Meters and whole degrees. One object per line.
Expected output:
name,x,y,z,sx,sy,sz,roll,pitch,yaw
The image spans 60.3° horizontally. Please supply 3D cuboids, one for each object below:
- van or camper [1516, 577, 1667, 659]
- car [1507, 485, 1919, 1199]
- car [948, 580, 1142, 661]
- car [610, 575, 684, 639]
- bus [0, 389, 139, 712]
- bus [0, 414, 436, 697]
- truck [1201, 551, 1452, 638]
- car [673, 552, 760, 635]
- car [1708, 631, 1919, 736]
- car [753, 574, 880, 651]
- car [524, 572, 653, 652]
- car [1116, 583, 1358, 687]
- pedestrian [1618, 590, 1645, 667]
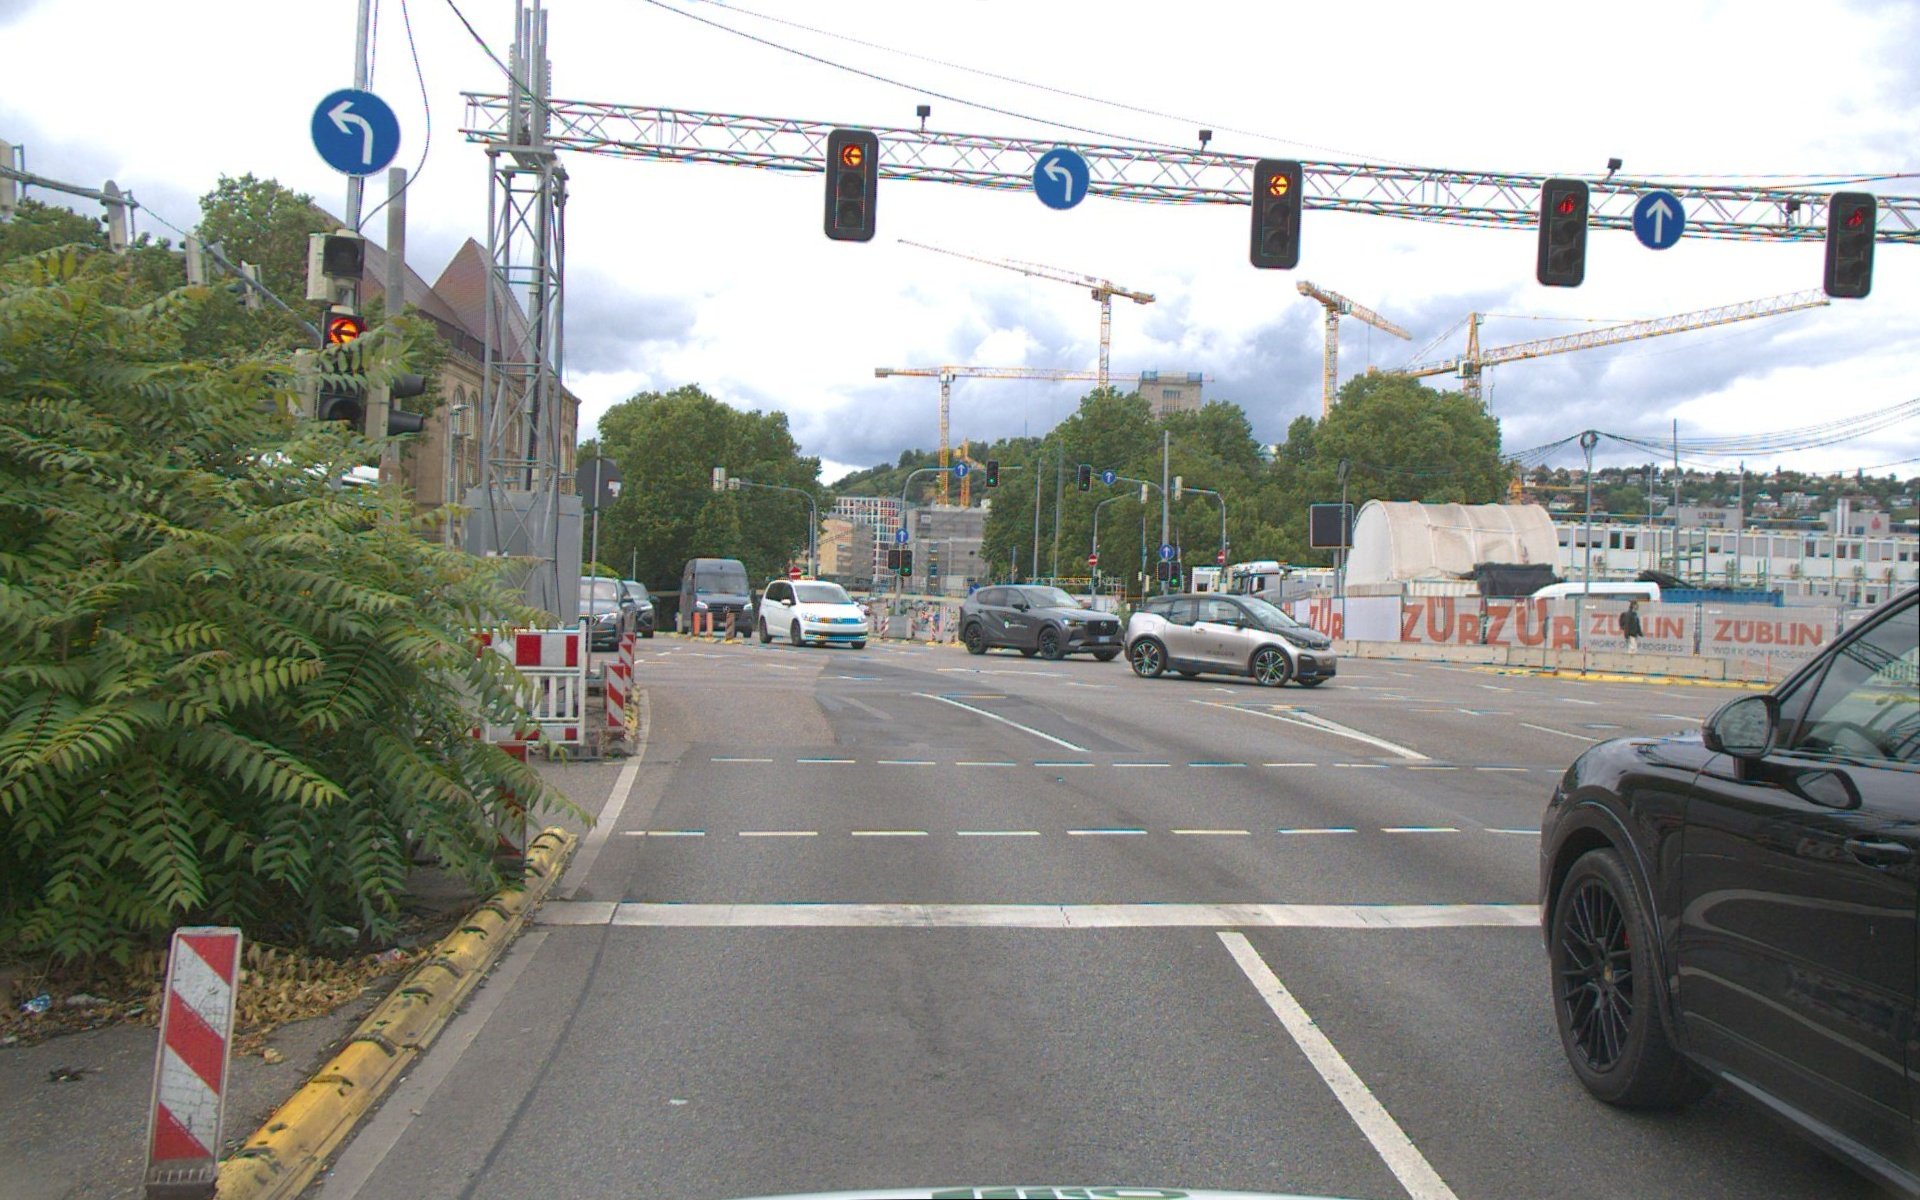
van or camper,19.712,0.532,51.818,4.123,2.398,2.002,2,0,13
car,2.929,0.649,3.488,1.915,1.715,4.634,2,0,-1
car,1.927,0.445,38.725,1.868,1.699,4.539,1,1,-42
car,-9.086,0.168,47.739,1.846,1.699,4.429,2,1,-14
bus,-10.966,-0.508,13.876,2.786,3.168,9.753,2,0,3
bus,-10.508,-0.554,23.386,2.786,3.168,9.126,2,0,3
truck,19.175,-0.238,86.312,12.843,4.111,3.925,1,0,-22
car,-8.308,-0.247,56.060,2.024,2.639,5.986,2,0,-17
car,15.832,1.488,29.727,3.974,1.697,1.798,2,0,-6
car,-3.675,0.280,41.606,1.853,1.766,4.412,2,1,-24
car,-7.612,0.202,34.277,1.840,1.498,4.442,2,1,-3
car,5.037,0.596,30.295,3.987,1.697,1.792,2,0,38
pedestrian,18.068,0.765,44.506,0.638,2.049,0.517,1,0,23
